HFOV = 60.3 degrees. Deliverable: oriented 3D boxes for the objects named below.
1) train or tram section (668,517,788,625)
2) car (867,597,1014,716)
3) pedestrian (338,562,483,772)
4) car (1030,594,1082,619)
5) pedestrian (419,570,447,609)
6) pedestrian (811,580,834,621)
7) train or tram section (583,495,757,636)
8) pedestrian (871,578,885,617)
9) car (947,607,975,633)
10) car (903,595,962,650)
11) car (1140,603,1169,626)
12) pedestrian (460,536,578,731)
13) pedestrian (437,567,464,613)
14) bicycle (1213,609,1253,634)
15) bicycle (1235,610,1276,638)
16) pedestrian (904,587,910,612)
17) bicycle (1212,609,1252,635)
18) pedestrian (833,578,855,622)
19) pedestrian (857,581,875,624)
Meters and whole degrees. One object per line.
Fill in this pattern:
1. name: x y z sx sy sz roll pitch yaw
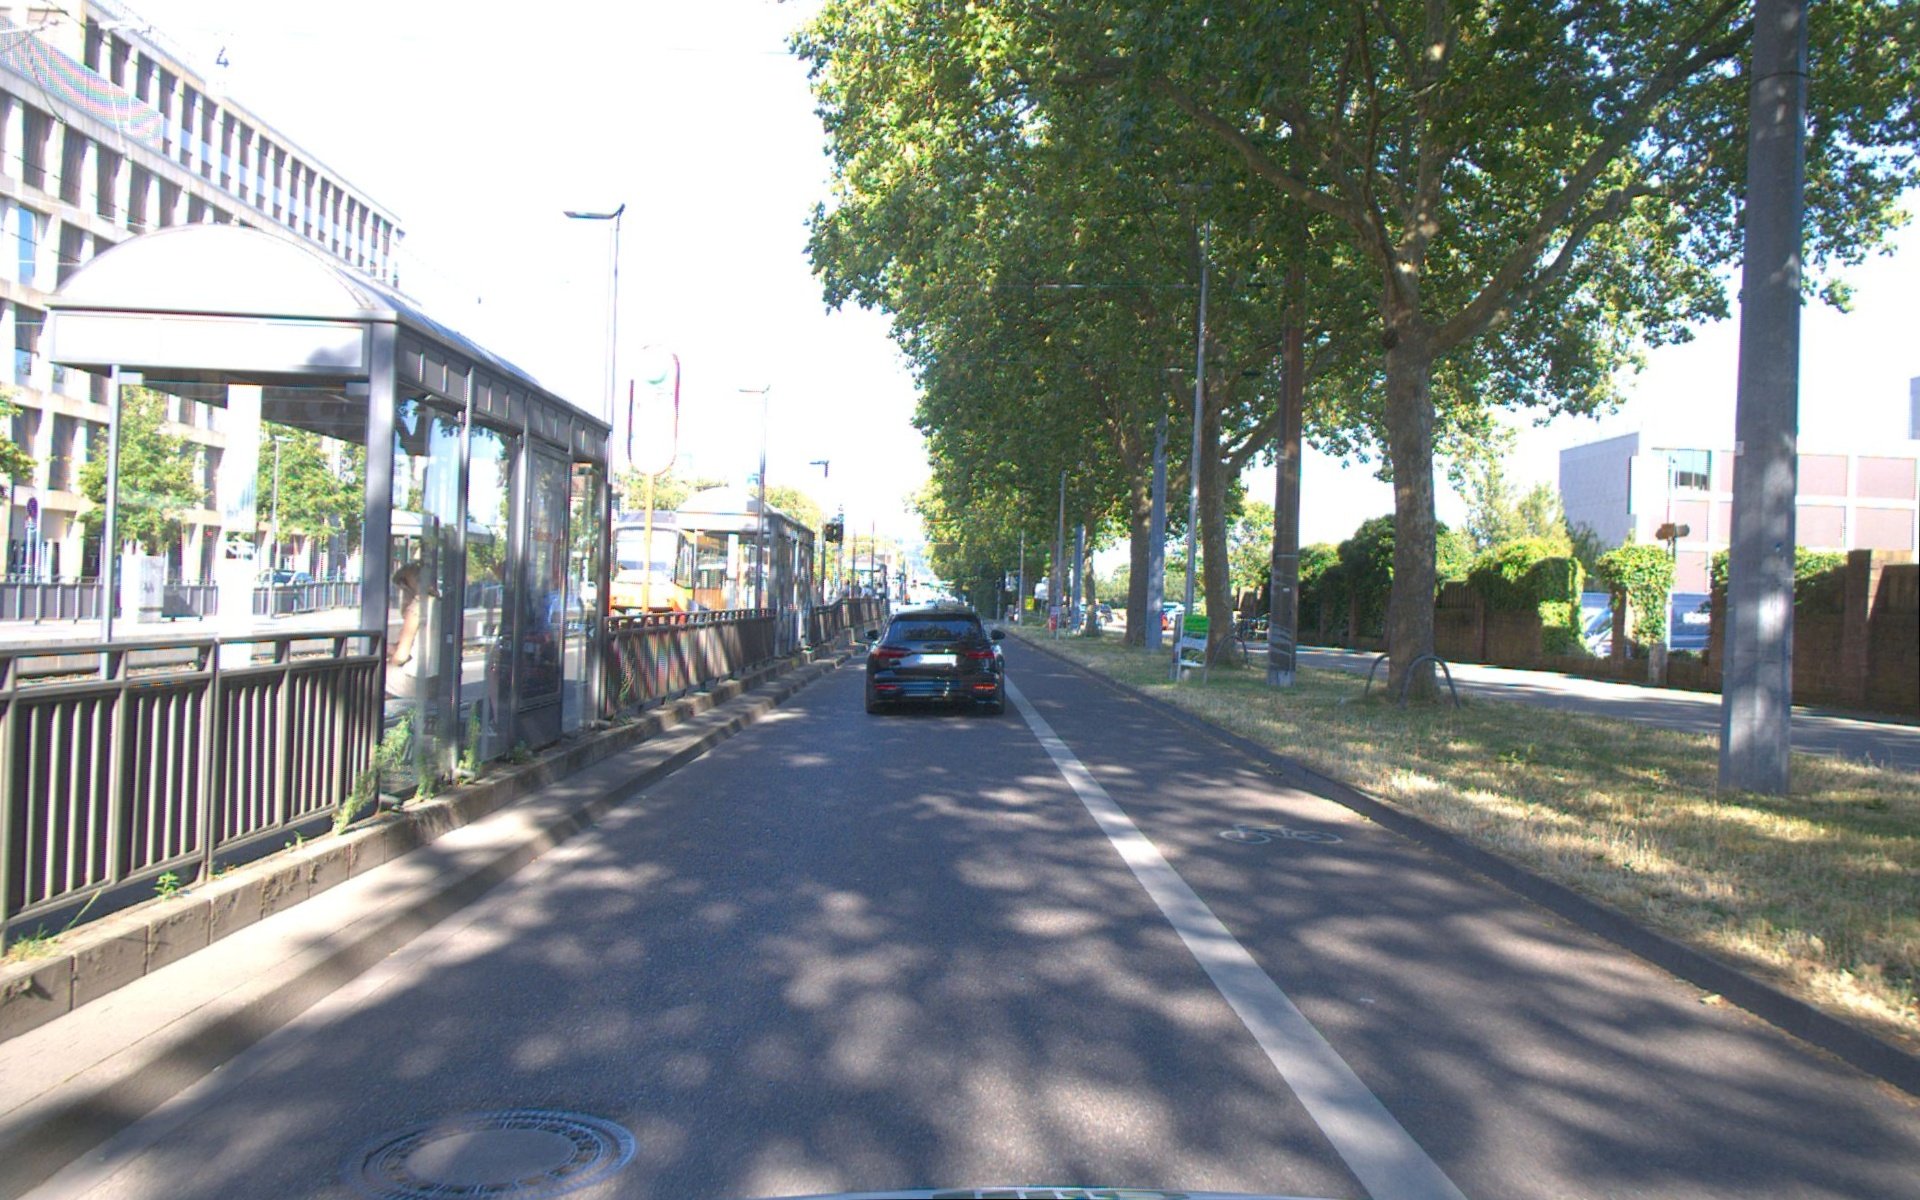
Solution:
1. train or tram section: -9.273 -1.073 67.720 3.242 3.896 11.841 2 0 -1
2. car: -0.326 0.712 22.563 1.840 1.482 3.355 1 0 -3
3. pedestrian: -3.529 0.420 10.662 0.727 1.296 0.524 2 0 -1
4. car: 7.390 0.509 127.442 3.905 1.795 1.833 2 0 0
5. pedestrian: -17.556 -0.357 55.106 0.601 1.282 0.725 2 0 3
6. pedestrian: -6.231 0.035 74.937 0.788 1.815 0.639 2 0 -41
7. train or tram section: -9.185 -0.984 54.466 3.242 3.896 14.216 2 0 -1
8. pedestrian: -3.914 -0.116 78.938 0.599 1.815 0.613 2 0 0
9. car: 0.040 1.368 113.394 1.727 1.647 3.998 2 0 -3
10. car: -0.925 0.689 53.647 1.727 1.647 3.998 2 0 -3
11. car: 13.958 1.027 118.820 1.581 1.542 3.803 2 0 0
12. pedestrian: -3.577 0.266 13.470 0.730 1.535 0.666 1 0 2
13. pedestrian: -17.770 -0.351 57.645 0.601 1.554 0.725 2 0 8
14. bicycle: 12.516 0.992 75.848 1.737 1.140 0.439 1 0 -2
15. bicycle: 12.414 0.998 69.565 1.653 1.140 0.439 1 0 -2
16. pedestrian: -3.713 -0.047 115.998 0.403 1.747 0.665 2 0 -1
17. bicycle: 12.303 0.994 74.800 1.737 1.140 0.439 1 0 -2
18. pedestrian: -4.259 0.010 60.630 0.601 1.576 0.725 2 0 10
19. pedestrian: -3.769 0.107 66.510 0.599 1.698 0.613 2 0 1
